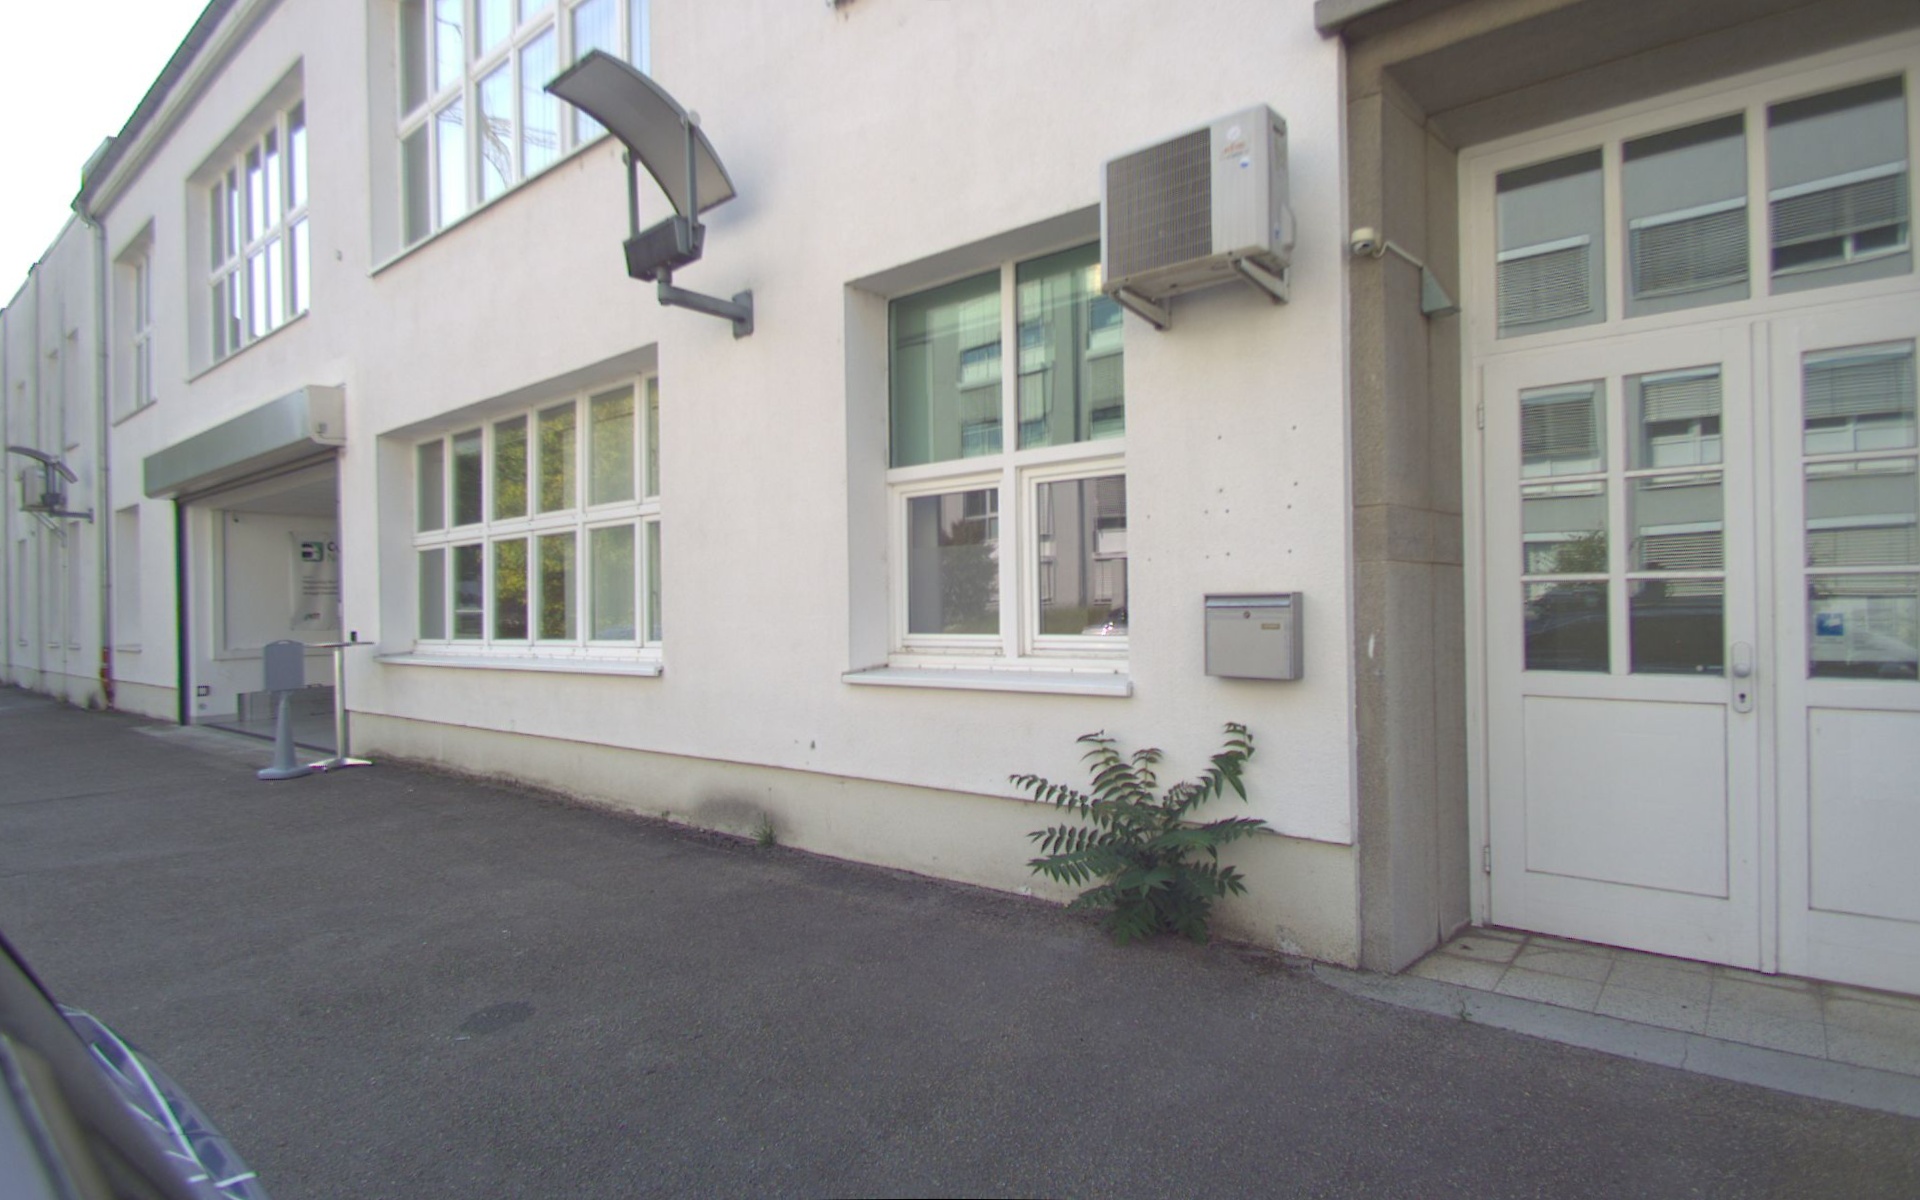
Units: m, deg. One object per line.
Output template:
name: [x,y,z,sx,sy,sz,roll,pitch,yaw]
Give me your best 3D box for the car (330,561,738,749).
car: [-5.588,0.587,13.817,2.054,2.108,4.699,-1,0,40]
